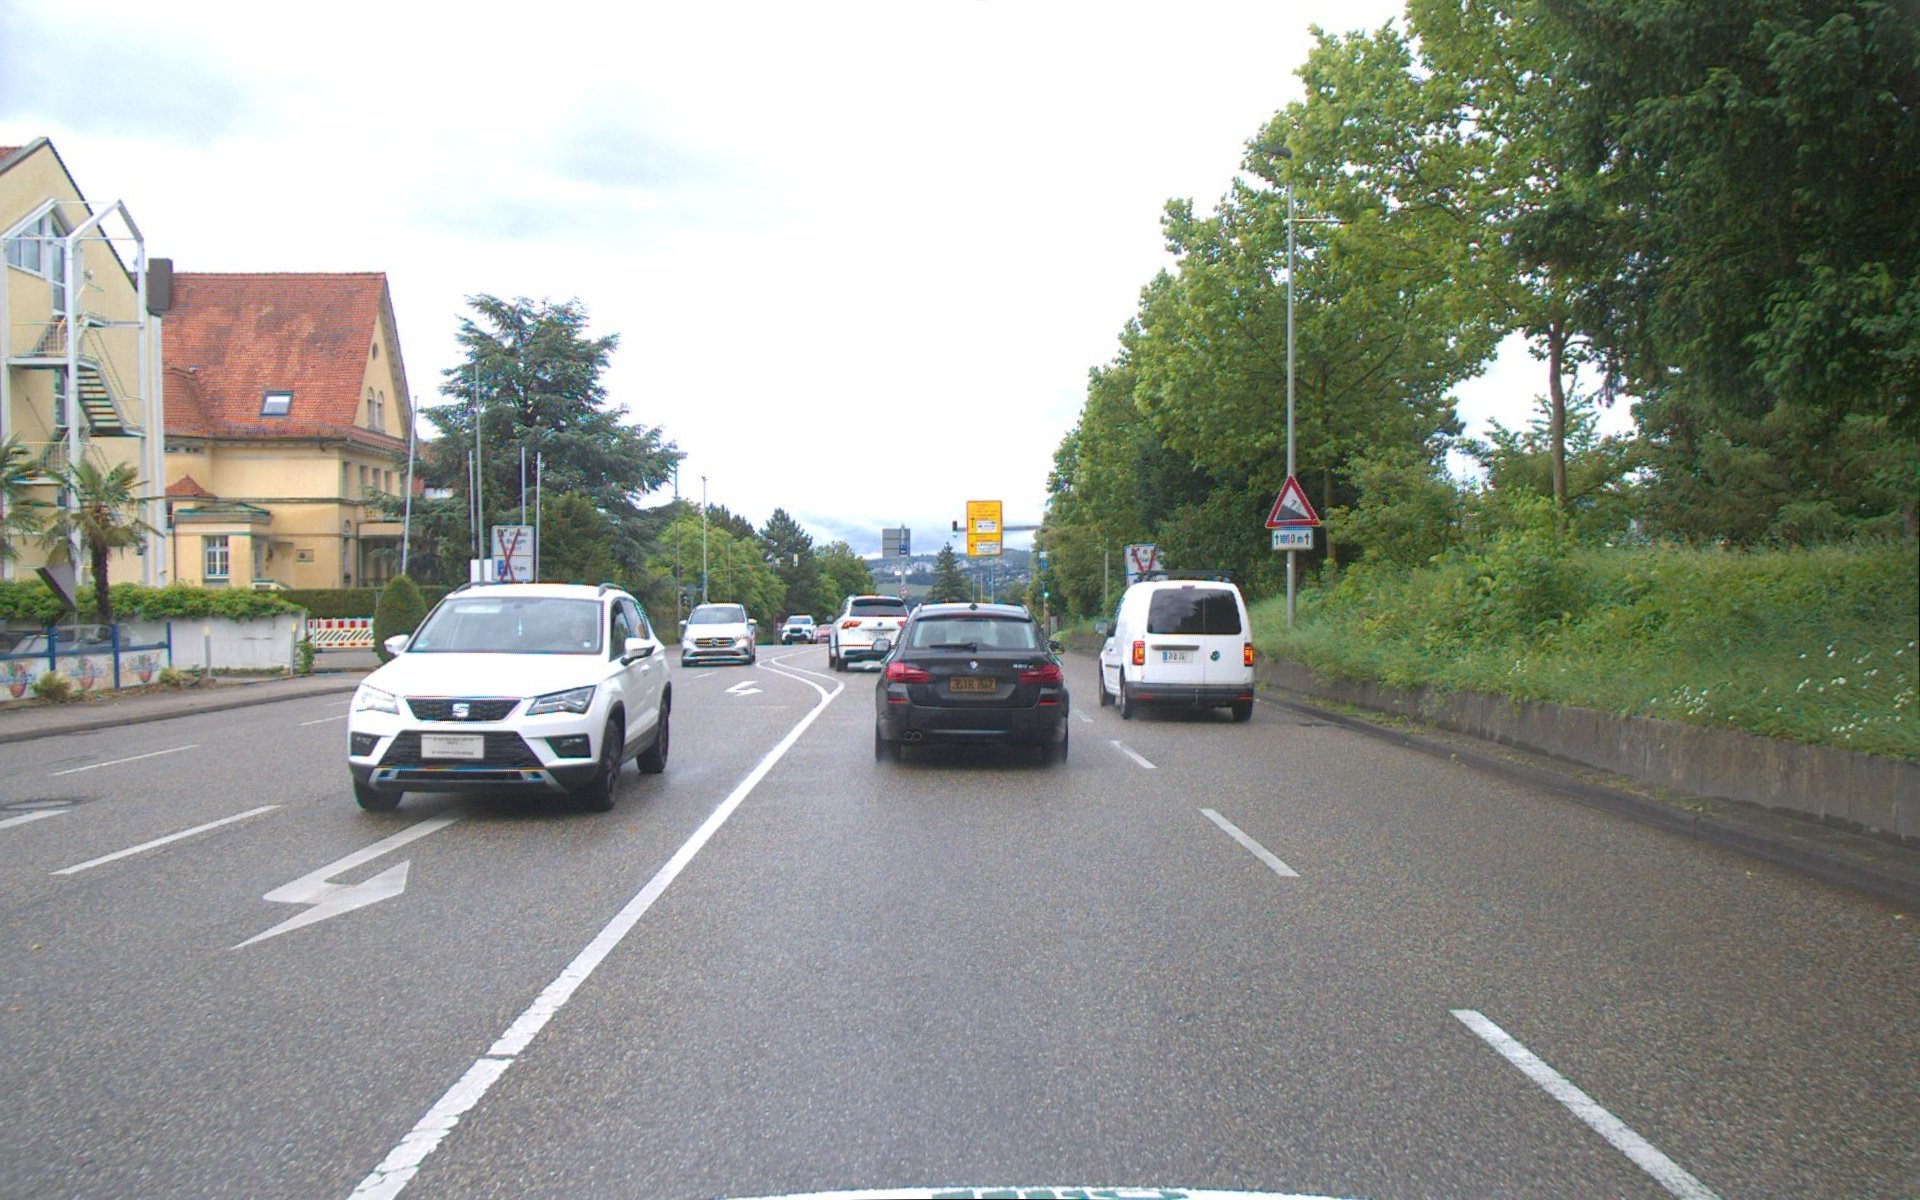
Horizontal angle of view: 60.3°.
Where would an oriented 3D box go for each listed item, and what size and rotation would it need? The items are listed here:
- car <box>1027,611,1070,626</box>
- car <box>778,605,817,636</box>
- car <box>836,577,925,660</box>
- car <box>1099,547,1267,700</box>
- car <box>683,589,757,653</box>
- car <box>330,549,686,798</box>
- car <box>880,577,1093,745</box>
[{"bbox_3d":[8.016,1.693,150.276,3.903,1.400,1.586,0,-1,3],"label":"car"},{"bbox_3d":[-10.292,1.293,104.924,1.878,1.793,5.143,-3,0,0],"label":"car"},{"bbox_3d":[-1.750,0.373,37.593,1.830,1.702,4.001,0,2,0],"label":"car"},{"bbox_3d":[2.978,0.237,22.794,1.729,1.910,3.805,0,2,-1],"label":"car"},{"bbox_3d":[-6.151,0.508,42.731,1.716,1.534,4.296,-1,0,-6],"label":"car"},{"bbox_3d":[-3.310,0.470,12.954,1.751,1.608,4.237,0,0,-2],"label":"car"},{"bbox_3d":[0.234,0.538,16.468,1.860,1.467,4.000,0,0,0],"label":"car"}]
